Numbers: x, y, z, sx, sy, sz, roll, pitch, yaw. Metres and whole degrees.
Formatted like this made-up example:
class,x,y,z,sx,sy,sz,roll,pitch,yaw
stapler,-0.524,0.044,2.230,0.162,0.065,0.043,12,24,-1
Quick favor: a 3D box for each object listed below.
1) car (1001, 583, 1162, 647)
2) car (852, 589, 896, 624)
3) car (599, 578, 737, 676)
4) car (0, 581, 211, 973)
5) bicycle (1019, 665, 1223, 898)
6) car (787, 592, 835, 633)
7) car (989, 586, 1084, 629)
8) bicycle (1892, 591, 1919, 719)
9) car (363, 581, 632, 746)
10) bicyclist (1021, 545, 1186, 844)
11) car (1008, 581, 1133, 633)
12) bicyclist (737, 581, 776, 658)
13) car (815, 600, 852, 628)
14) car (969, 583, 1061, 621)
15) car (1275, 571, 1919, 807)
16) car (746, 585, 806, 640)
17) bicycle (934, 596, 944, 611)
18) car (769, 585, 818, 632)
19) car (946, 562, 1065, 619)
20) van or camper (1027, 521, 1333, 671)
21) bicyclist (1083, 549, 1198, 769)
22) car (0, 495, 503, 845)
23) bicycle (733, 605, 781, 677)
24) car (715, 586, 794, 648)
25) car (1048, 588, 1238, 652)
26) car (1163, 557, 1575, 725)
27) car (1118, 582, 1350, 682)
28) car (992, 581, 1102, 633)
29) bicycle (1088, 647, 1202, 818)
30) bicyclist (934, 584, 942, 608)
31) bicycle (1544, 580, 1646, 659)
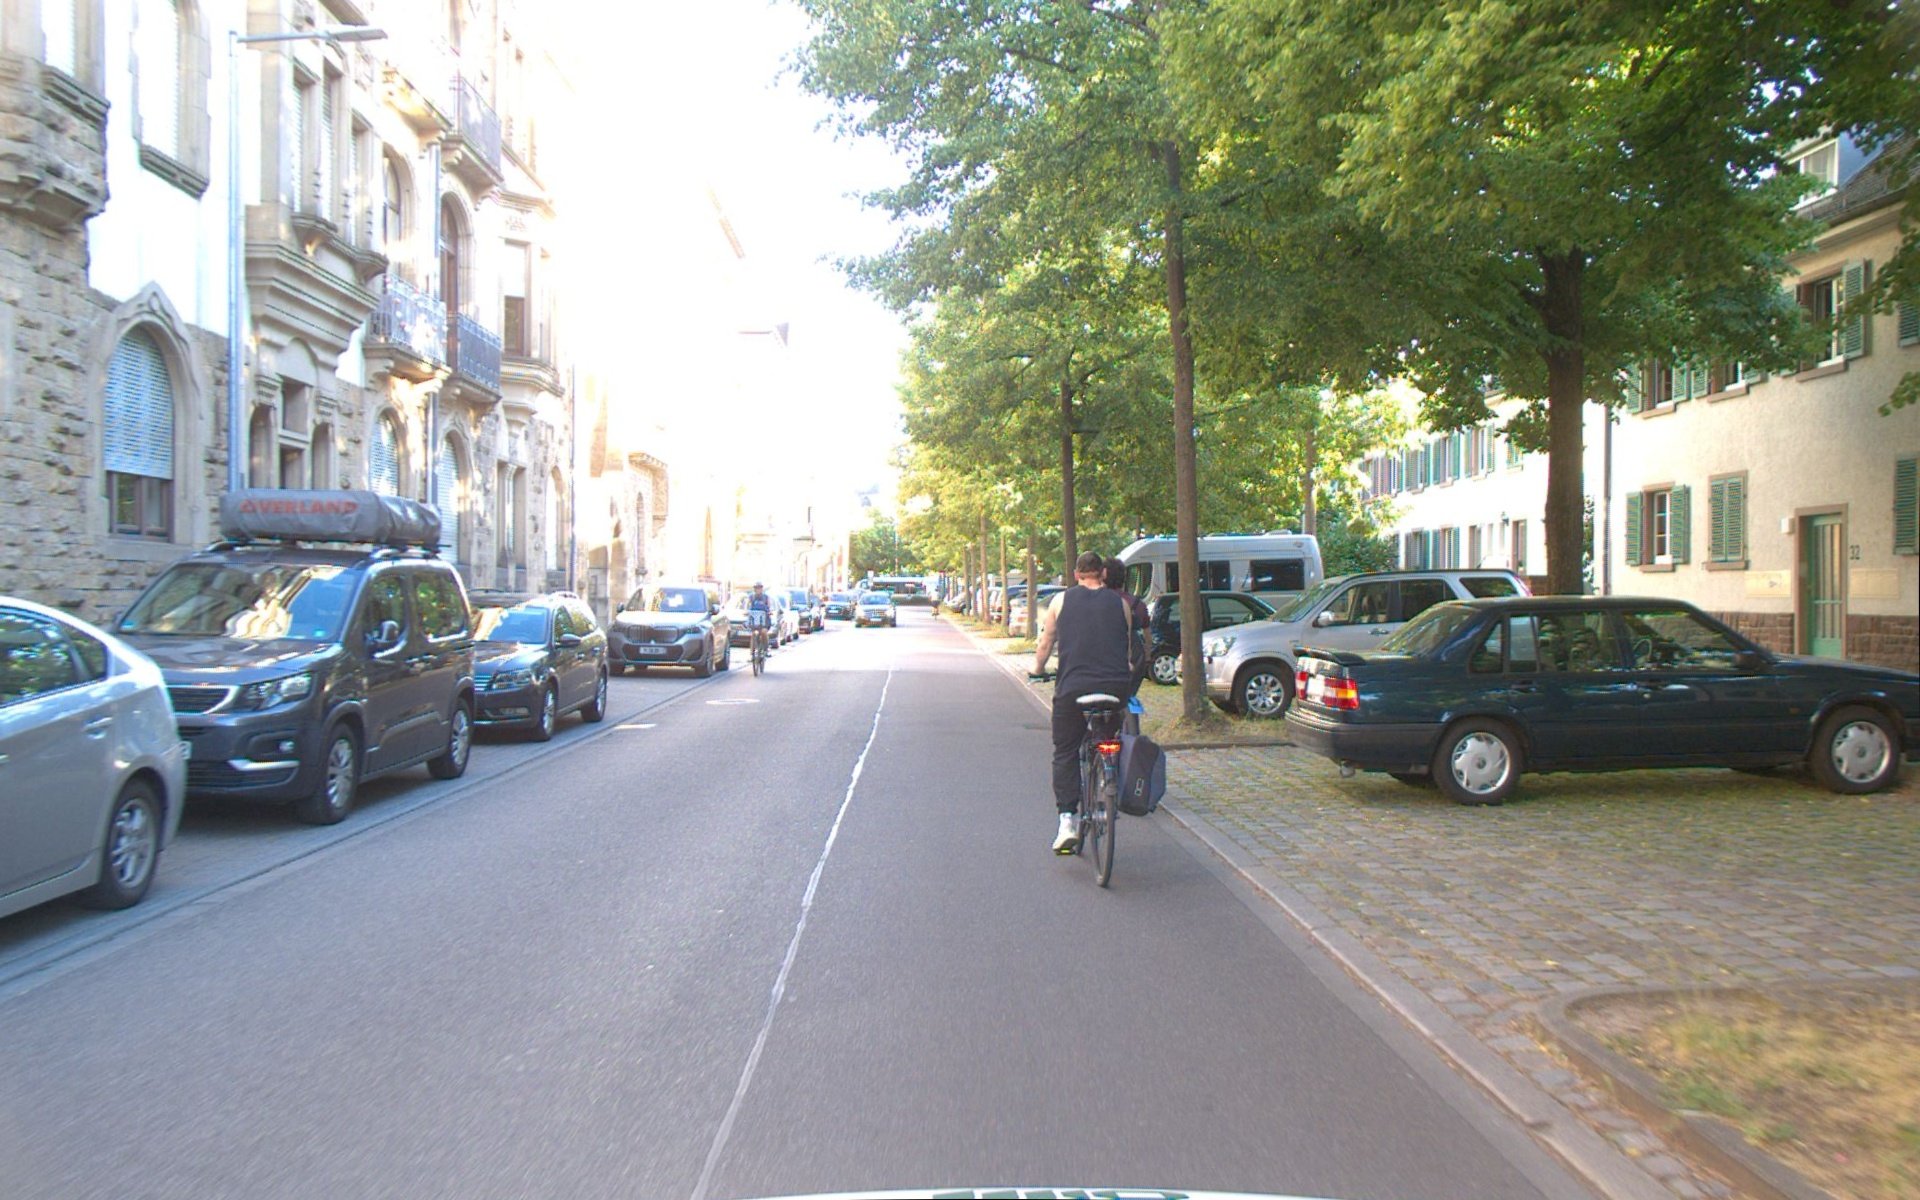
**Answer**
class,x,y,z,sx,sy,sz,roll,pitch,yaw
car,3.301,0.416,45.389,4.160,1.634,1.752,-1,-1,-5
car,-3.876,0.330,73.823,1.859,1.512,4.377,0,-1,-5
car,-5.270,0.492,30.392,2.009,1.650,4.392,0,-1,-4
car,-4.597,0.690,6.266,1.695,1.525,4.452,1,0,-4
bicycle,0.836,0.934,9.175,0.683,1.091,1.965,0,-1,-8
car,-6.026,0.491,67.092,1.583,1.508,4.017,4,0,-2
car,3.451,0.330,75.170,4.157,1.828,1.854,-1,-1,-1
bicycle,9.305,0.520,14.796,0.616,1.183,1.930,0,1,-9
car,-4.974,0.652,18.482,1.694,1.602,4.708,0,-1,0
bicyclist,0.774,0.499,9.152,0.693,1.553,0.970,0,-1,-9
car,3.791,0.239,57.289,4.157,1.676,1.854,-1,-1,-1
bicyclist,-3.722,0.339,30.342,0.652,1.368,1.059,-1,1,-5
car,-7.068,0.780,92.607,1.954,1.512,3.997,0,-1,-3
car,2.807,0.116,85.299,4.660,1.811,1.854,-1,-1,-1
car,4.993,0.609,12.455,4.797,1.467,1.941,-2,-1,-4
car,-5.760,0.390,52.078,1.461,1.543,3.773,4,0,-2
bicycle,-1.223,0.221,95.422,0.530,0.842,1.918,0,-1,-1
car,-6.165,0.318,61.640,1.598,1.694,3.966,0,-1,-3
car,2.764,-0.567,102.016,7.183,3.339,2.223,-1,-1,-1
van or camper,4.174,-0.067,32.079,5.464,2.581,2.267,-2,-1,-4
bicyclist,1.309,0.423,12.150,0.704,1.553,0.971,0,-1,-2
car,-4.784,0.397,11.927,1.930,2.009,4.495,1,0,-4
bicycle,-3.729,0.731,30.542,0.738,1.199,2.618,-1,1,-5
car,-5.711,0.467,46.440,1.720,1.543,4.113,4,0,-2
car,4.421,0.486,40.379,4.410,1.478,1.816,-1,-1,-1
car,4.807,0.441,19.850,4.387,1.698,1.941,-3,1,-4
car,4.417,0.513,26.977,3.431,1.498,1.750,-1,-1,-3
car,3.370,0.281,64.686,4.157,1.872,1.854,-1,-1,-1
bicycle,1.323,0.921,12.142,0.544,1.091,1.968,0,0,-2
bicyclist,-1.274,-0.233,95.418,0.408,1.374,0.430,0,-1,-2
bicycle,11.814,0.342,30.833,0.786,1.424,1.997,0,0,-14
